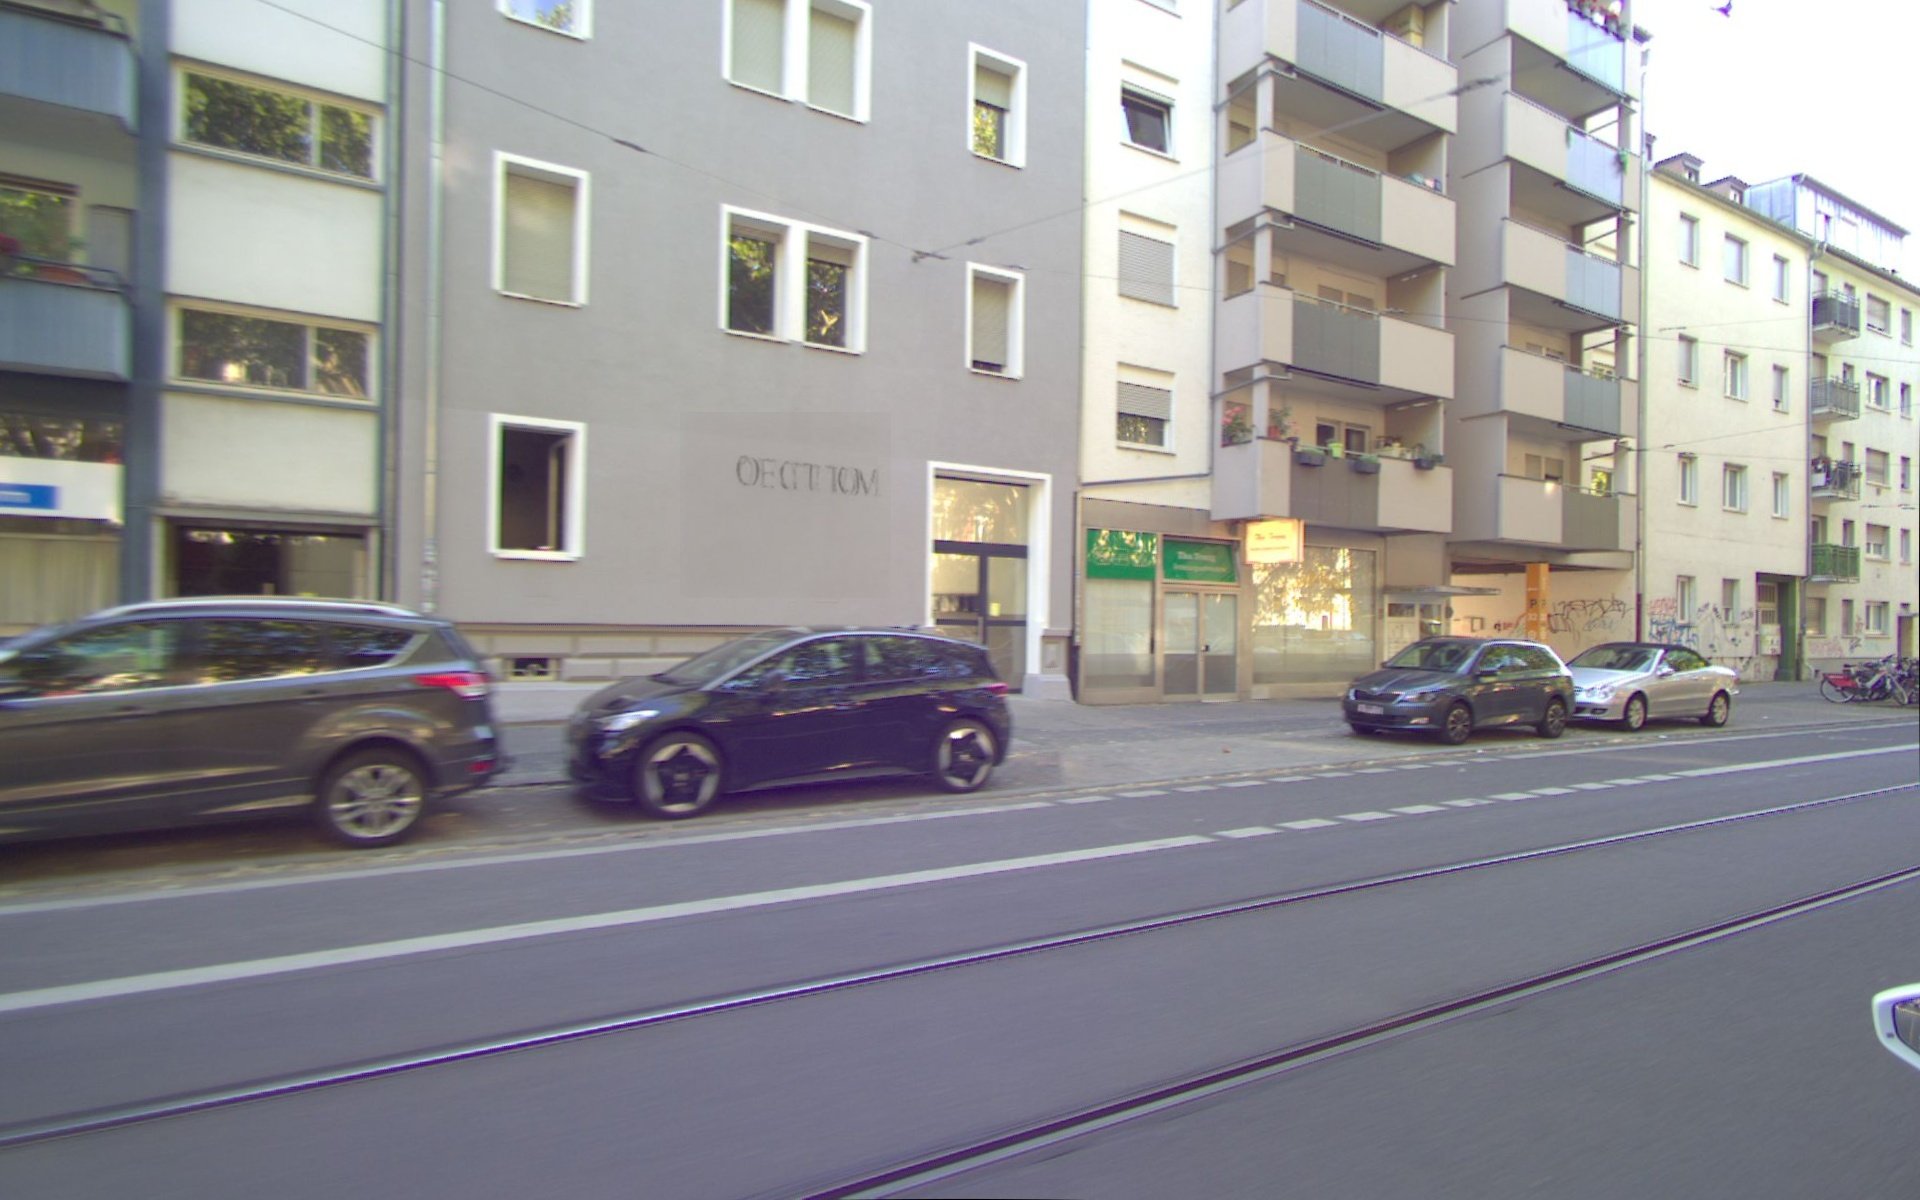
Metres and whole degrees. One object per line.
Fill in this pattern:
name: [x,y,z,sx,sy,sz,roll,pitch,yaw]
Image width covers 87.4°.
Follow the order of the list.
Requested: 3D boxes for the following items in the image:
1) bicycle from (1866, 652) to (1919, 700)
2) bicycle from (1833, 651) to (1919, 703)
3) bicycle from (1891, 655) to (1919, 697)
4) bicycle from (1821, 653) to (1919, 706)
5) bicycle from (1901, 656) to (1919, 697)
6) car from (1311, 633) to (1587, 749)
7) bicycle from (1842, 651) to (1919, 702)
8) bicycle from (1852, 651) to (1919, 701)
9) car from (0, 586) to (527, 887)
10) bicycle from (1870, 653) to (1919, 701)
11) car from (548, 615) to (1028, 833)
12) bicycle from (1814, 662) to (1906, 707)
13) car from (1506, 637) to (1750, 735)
bicycle: [23.980,1.911,25.218,0.418,1.134,1.815,1,0,-23]
bicycle: [22.496,1.867,24.406,0.433,1.134,1.926,1,0,-23]
bicycle: [25.115,1.989,25.702,0.396,1.051,1.889,1,0,-23]
bicycle: [21.931,1.886,24.139,0.396,1.134,1.889,1,0,-23]
bicycle: [25.645,2.029,25.990,0.396,1.051,1.889,1,0,-23]
car: [7.406,1.273,15.116,4.193,1.510,1.784,2,-1,-32]
bicycle: [22.965,1.881,24.658,0.433,1.134,1.956,1,0,-23]
bicycle: [23.395,1.894,24.875,0.418,1.134,1.964,1,0,-23]
car: [-5.579,0.820,7.049,4.441,1.762,1.769,2,0,-33]
bicycle: [24.216,1.962,25.370,0.418,1.134,1.785,1,0,-23]
car: [-1.537,1.011,9.498,4.155,1.622,1.647,2,0,-32]
bicycle: [21.397,1.999,23.899,1.601,0.929,0.400,1,0,44]
car: [11.814,1.437,17.687,4.672,1.510,1.682,2,-1,-30]
